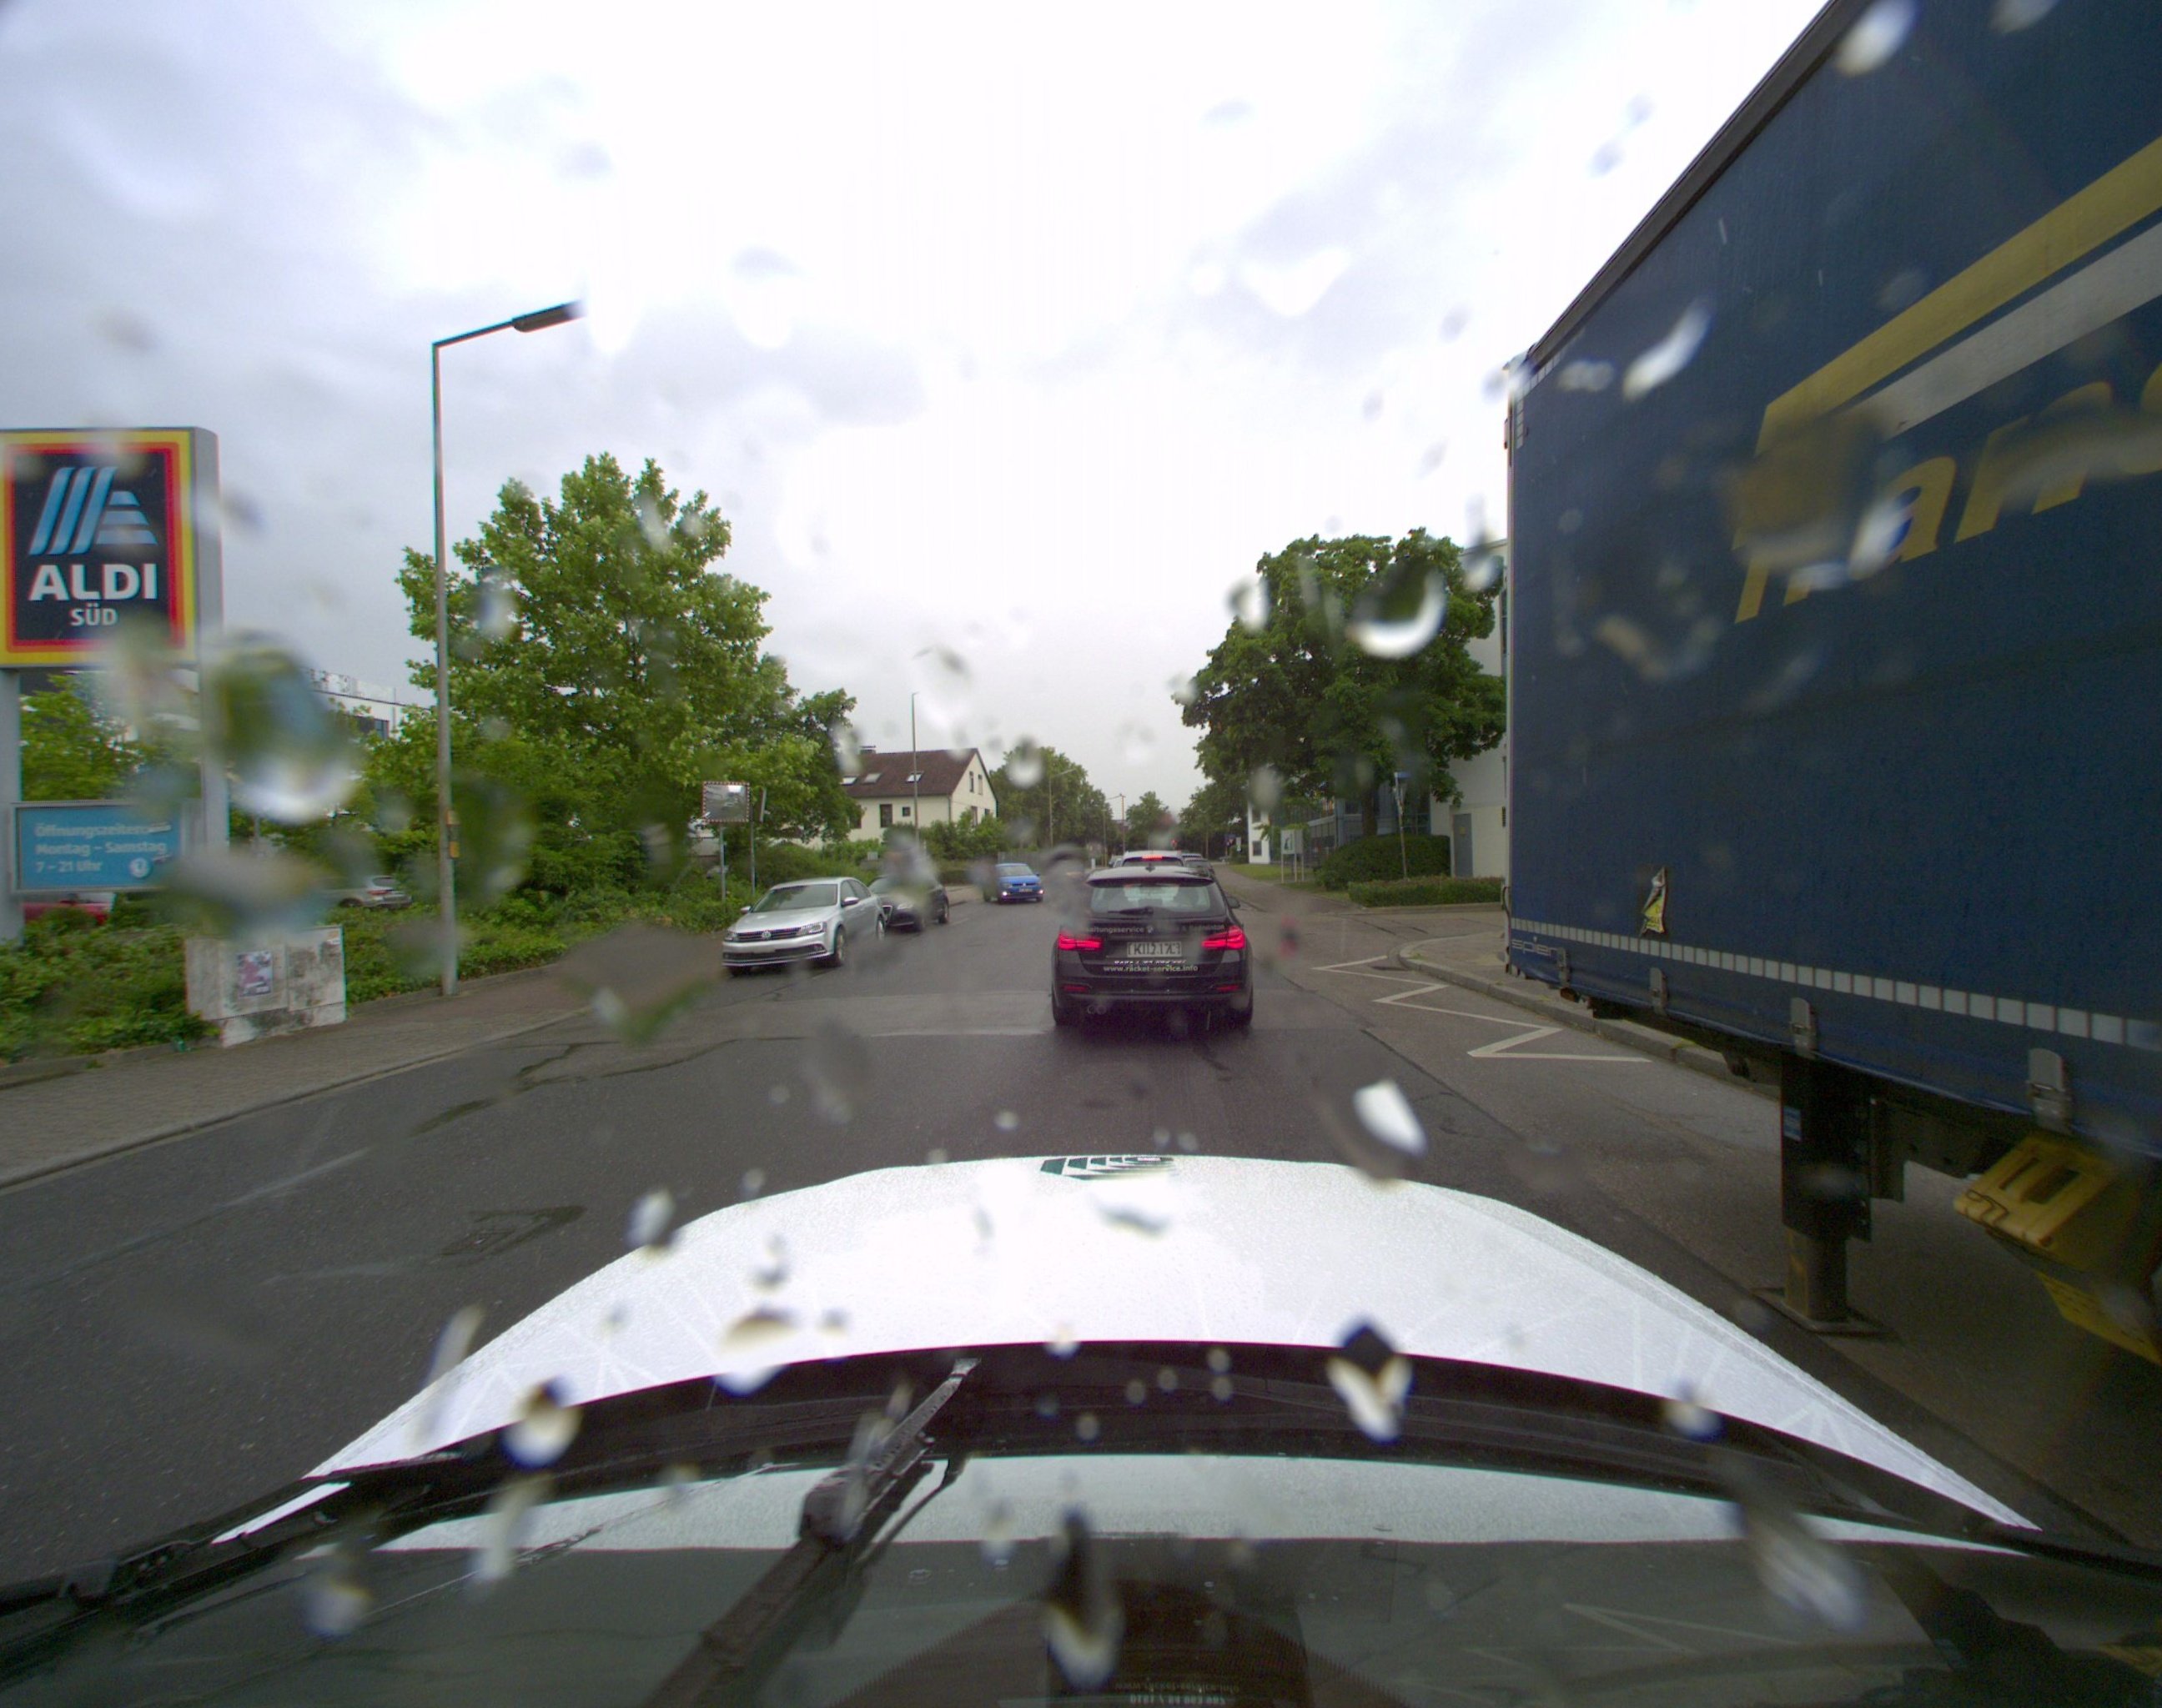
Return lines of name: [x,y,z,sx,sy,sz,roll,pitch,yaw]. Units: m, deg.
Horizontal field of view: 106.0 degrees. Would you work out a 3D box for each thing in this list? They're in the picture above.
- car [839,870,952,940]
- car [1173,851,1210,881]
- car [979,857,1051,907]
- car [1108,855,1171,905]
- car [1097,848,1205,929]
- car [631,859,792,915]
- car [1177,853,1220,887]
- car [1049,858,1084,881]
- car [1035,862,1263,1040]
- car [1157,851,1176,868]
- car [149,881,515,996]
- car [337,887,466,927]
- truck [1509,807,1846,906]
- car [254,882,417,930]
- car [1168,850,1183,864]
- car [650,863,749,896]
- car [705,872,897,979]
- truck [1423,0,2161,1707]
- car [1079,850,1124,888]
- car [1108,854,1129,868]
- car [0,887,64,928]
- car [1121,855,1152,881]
car: [-4.419,1.161,19.978,1.699,1.367,3.839,-4,0,1]
car: [6.216,0.662,46.136,1.796,1.586,4.004,-1,-1,4]
car: [-2.524,1.017,30.288,1.711,1.594,3.813,-4,0,-19]
car: [1.961,0.868,28.490,1.799,1.586,3.997,-1,-1,-2]
car: [1.444,0.714,18.257,1.801,1.586,3.994,-1,-1,-4]
car: [-11.205,0.981,24.910,3.976,1.540,1.909,-2,0,-2]
car: [5.823,0.805,40.668,1.796,1.586,4.004,-1,-1,4]
car: [-0.962,1.036,56.582,1.696,1.367,3.847,-4,0,9]
car: [0.560,0.796,8.520,1.798,1.395,4.000,-1,-1,0]
car: [8.520,0.520,81.530,1.795,1.586,4.007,-2,0,6]
car: [-10.450,1.144,11.586,3.559,1.460,1.712,0,0,-1]
car: [-30.221,2.357,36.323,3.974,1.529,2.000,-2,0,0]
truck: [14.677,0.059,20.312,6.903,2.140,2.093,-2,0,-1]
car: [-26.757,1.841,29.341,3.974,1.499,2.000,-2,0,0]
car: [11.519,0.326,99.630,1.795,1.586,4.007,-2,0,6]
car: [-19.318,1.277,41.366,3.973,1.499,2.000,-2,0,1]
car: [-4.656,1.111,14.326,1.700,1.367,4.600,-4,0,0]
truck: [3.147,-0.349,0.490,2.731,3.611,7.750,1,0,1]
car: [0.971,0.662,36.350,1.796,1.586,4.004,-1,-1,4]
car: [4.091,0.712,88.494,1.696,1.367,3.847,-4,0,9]
car: [-44.501,2.208,33.017,3.974,1.529,2.000,-2,0,0]
car: [3.638,0.868,52.731,1.795,1.586,4.006,-1,-1,6]
